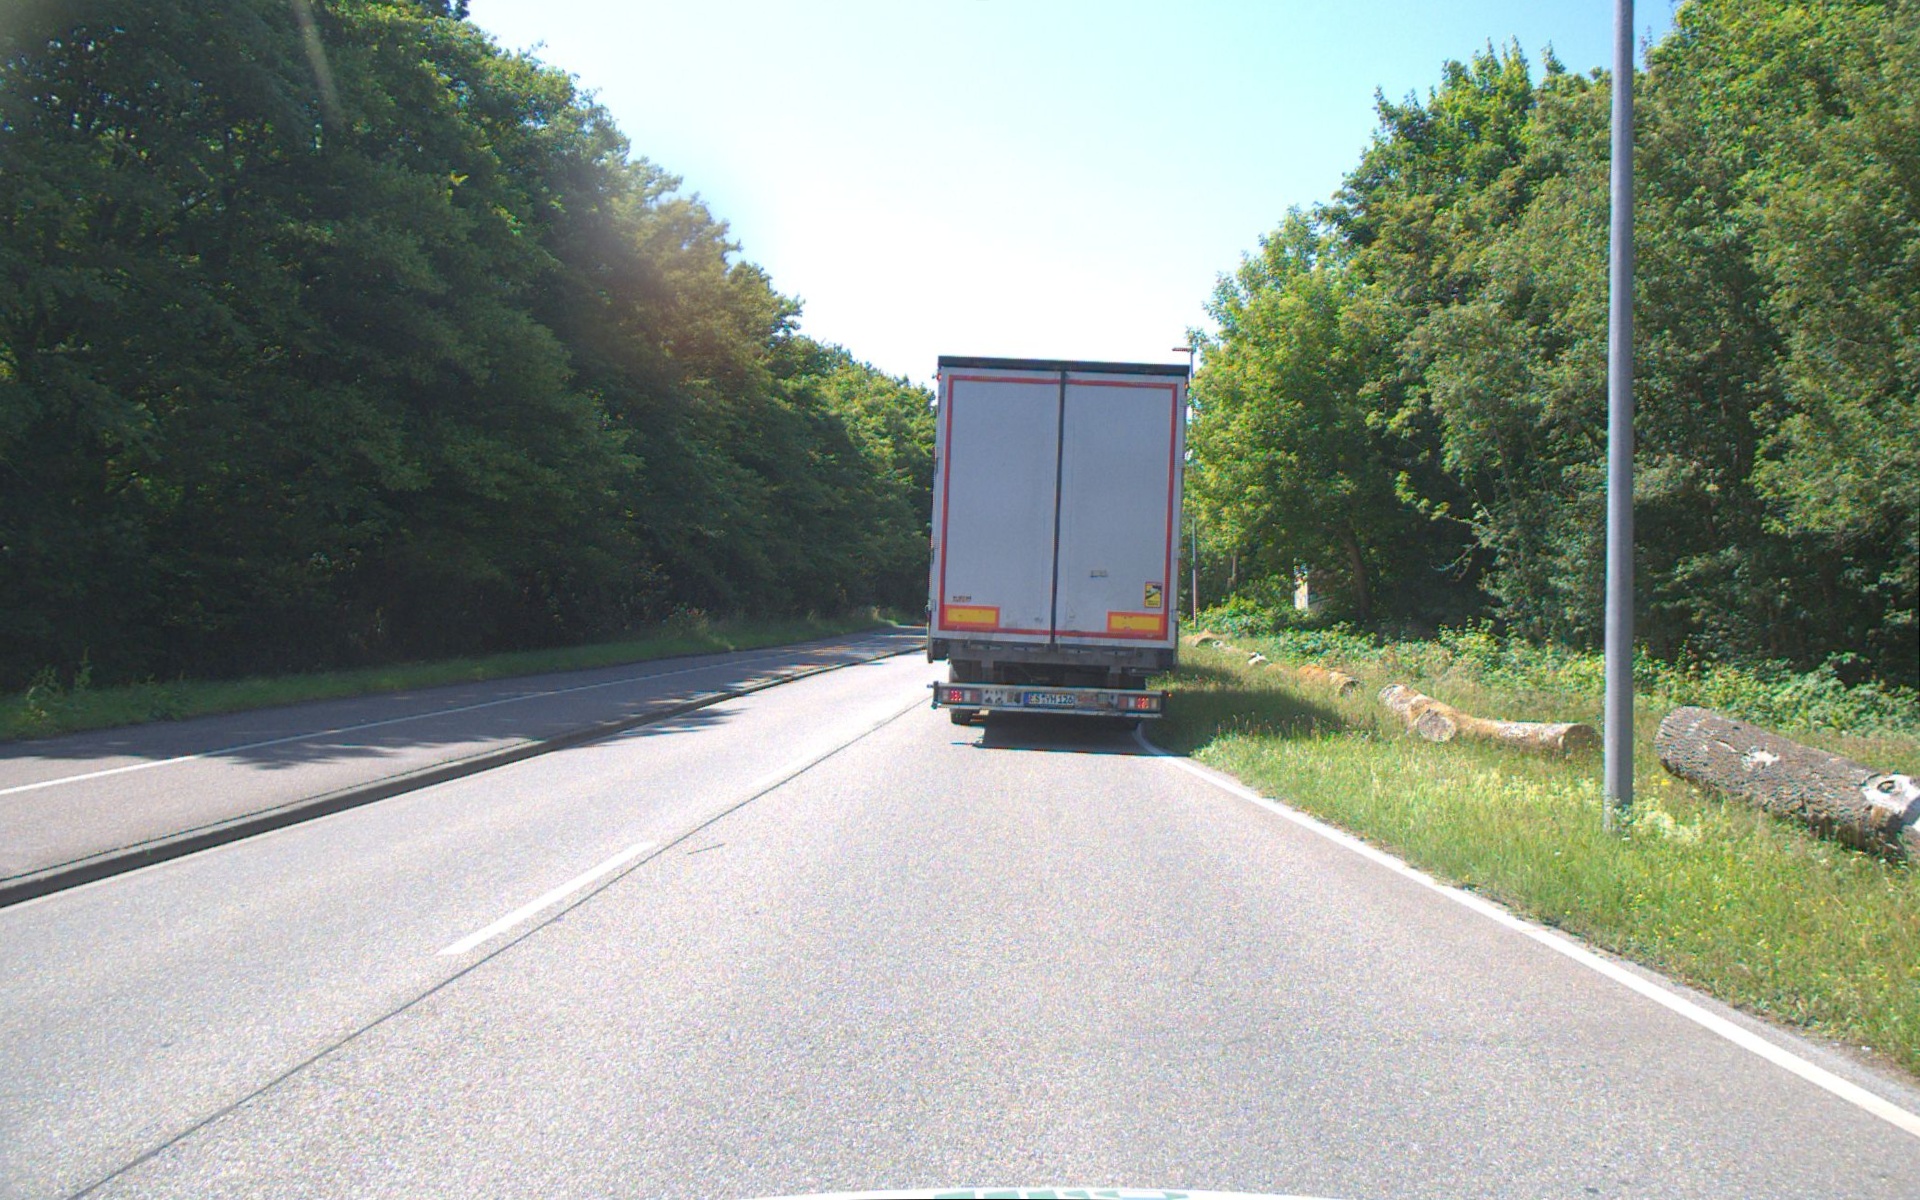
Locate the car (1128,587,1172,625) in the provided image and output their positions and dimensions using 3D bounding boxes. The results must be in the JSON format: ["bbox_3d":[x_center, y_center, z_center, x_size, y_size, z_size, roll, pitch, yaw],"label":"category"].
[{"bbox_3d":[7.969,0.249,69.725,1.674,1.557,3.853,0,0,4],"label":"car"}]

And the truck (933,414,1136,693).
[{"bbox_3d":[1.199,-0.736,28.519,3.013,4.141,7.960,0,1,1],"label":"truck"}]

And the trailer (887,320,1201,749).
[{"bbox_3d":[0.944,-0.662,21.002,3.013,4.141,9.811,1,0,2],"label":"trailer"}]
